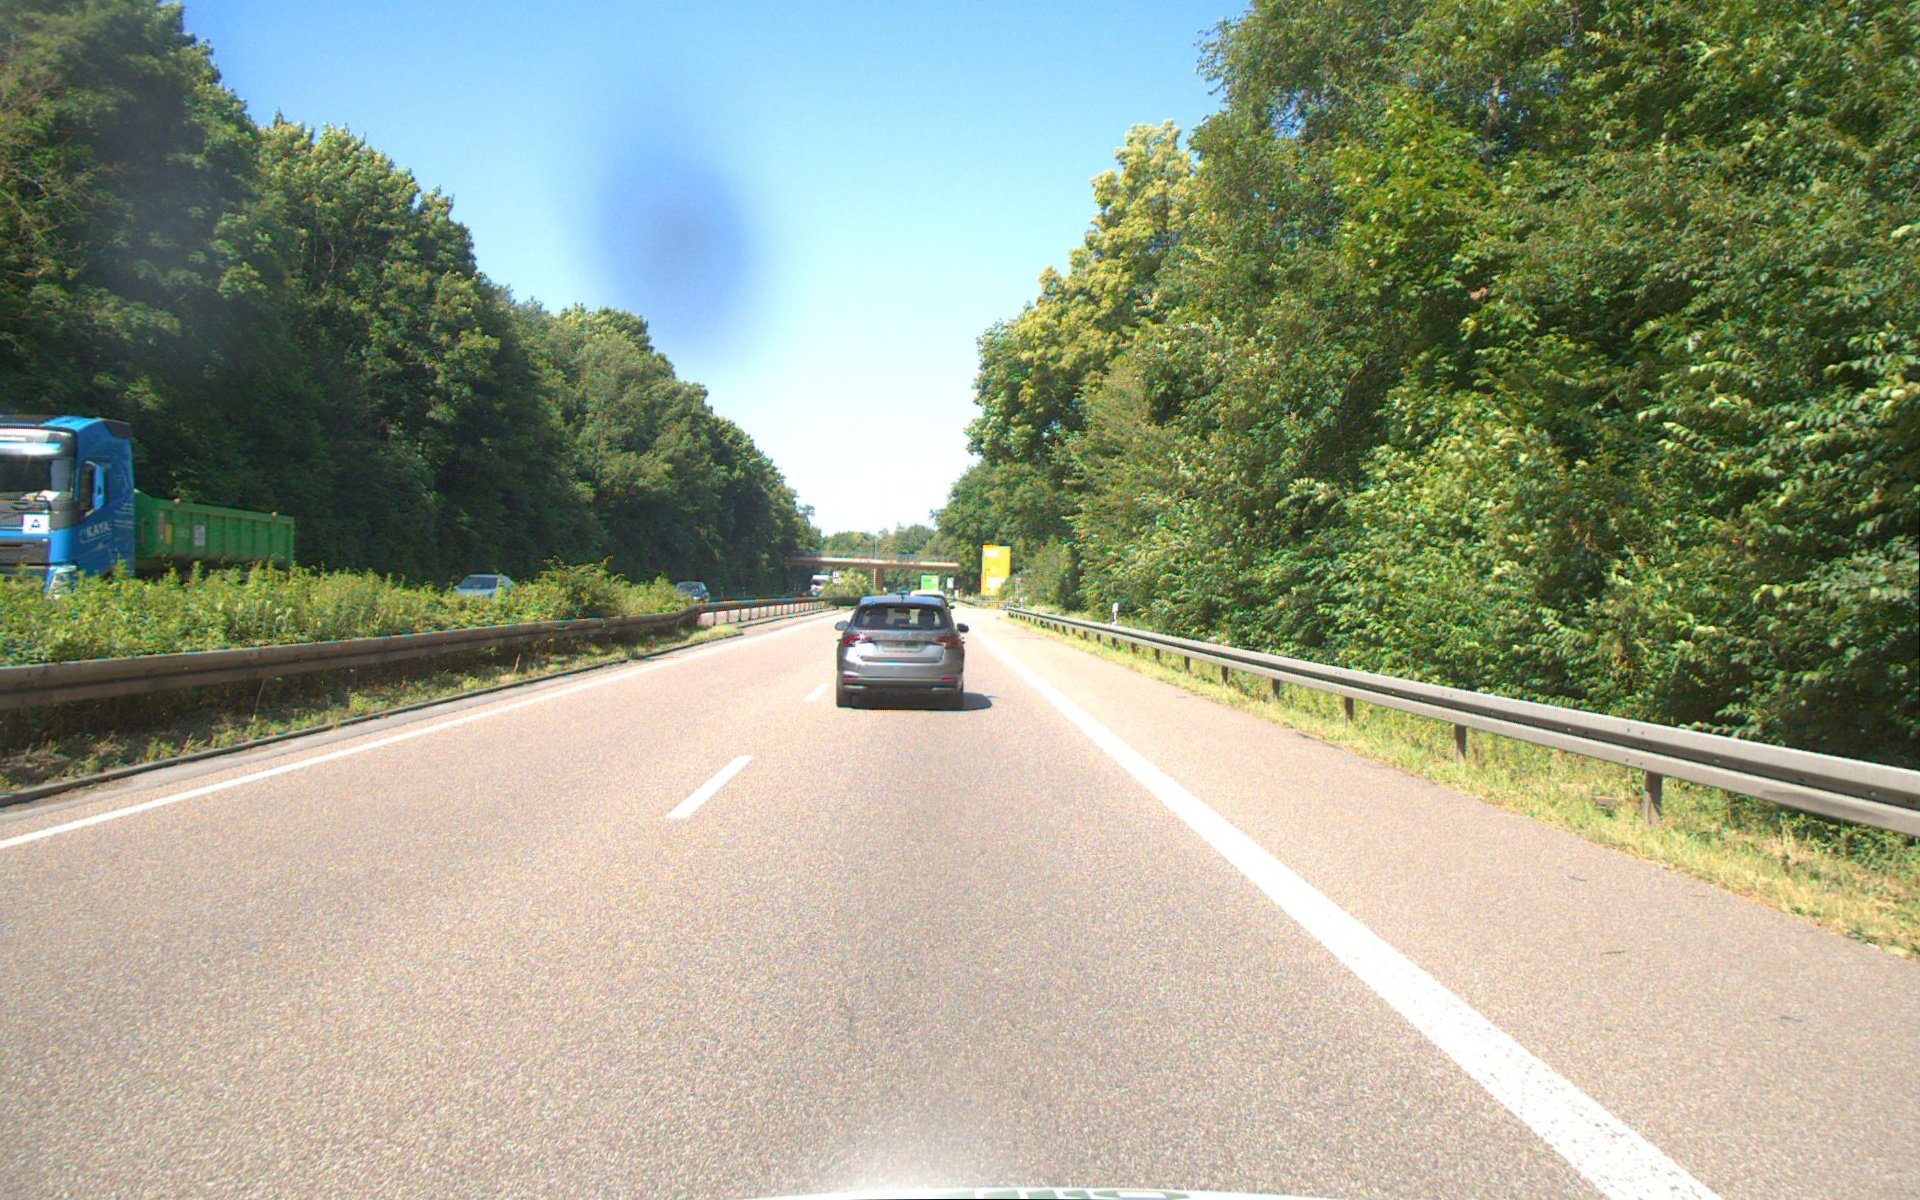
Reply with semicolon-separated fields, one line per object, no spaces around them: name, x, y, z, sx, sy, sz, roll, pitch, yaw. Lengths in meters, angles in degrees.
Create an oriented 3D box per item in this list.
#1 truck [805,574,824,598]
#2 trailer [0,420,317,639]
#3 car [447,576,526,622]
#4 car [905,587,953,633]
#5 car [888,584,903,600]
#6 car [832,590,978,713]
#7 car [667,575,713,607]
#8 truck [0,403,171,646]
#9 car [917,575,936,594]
truck;-21.117;-2.018;239.884;2.376;3.315;3.999;1;0;-1
trailer;-15.625;-1.233;32.836;2.633;3.777;7.983;1;0;-1
car;-16.383;-0.039;57.412;1.638;1.499;3.623;1;0;1
car;-1.016;0.318;55.492;1.491;1.472;3.340;1;1;1
car;-8.731;-1.066;225.053;1.953;2.049;3.999;1;0;-1
car;-0.670;0.633;22.536;1.802;1.497;3.624;1;1;1
car;-13.483;-0.447;82.702;1.638;1.499;3.623;1;0;1
truck;-15.516;-1.193;27.762;2.592;3.771;3.999;1;0;-1
car;-4.876;-2.279;242.228;2.693;2.700;3.999;1;0;-1
